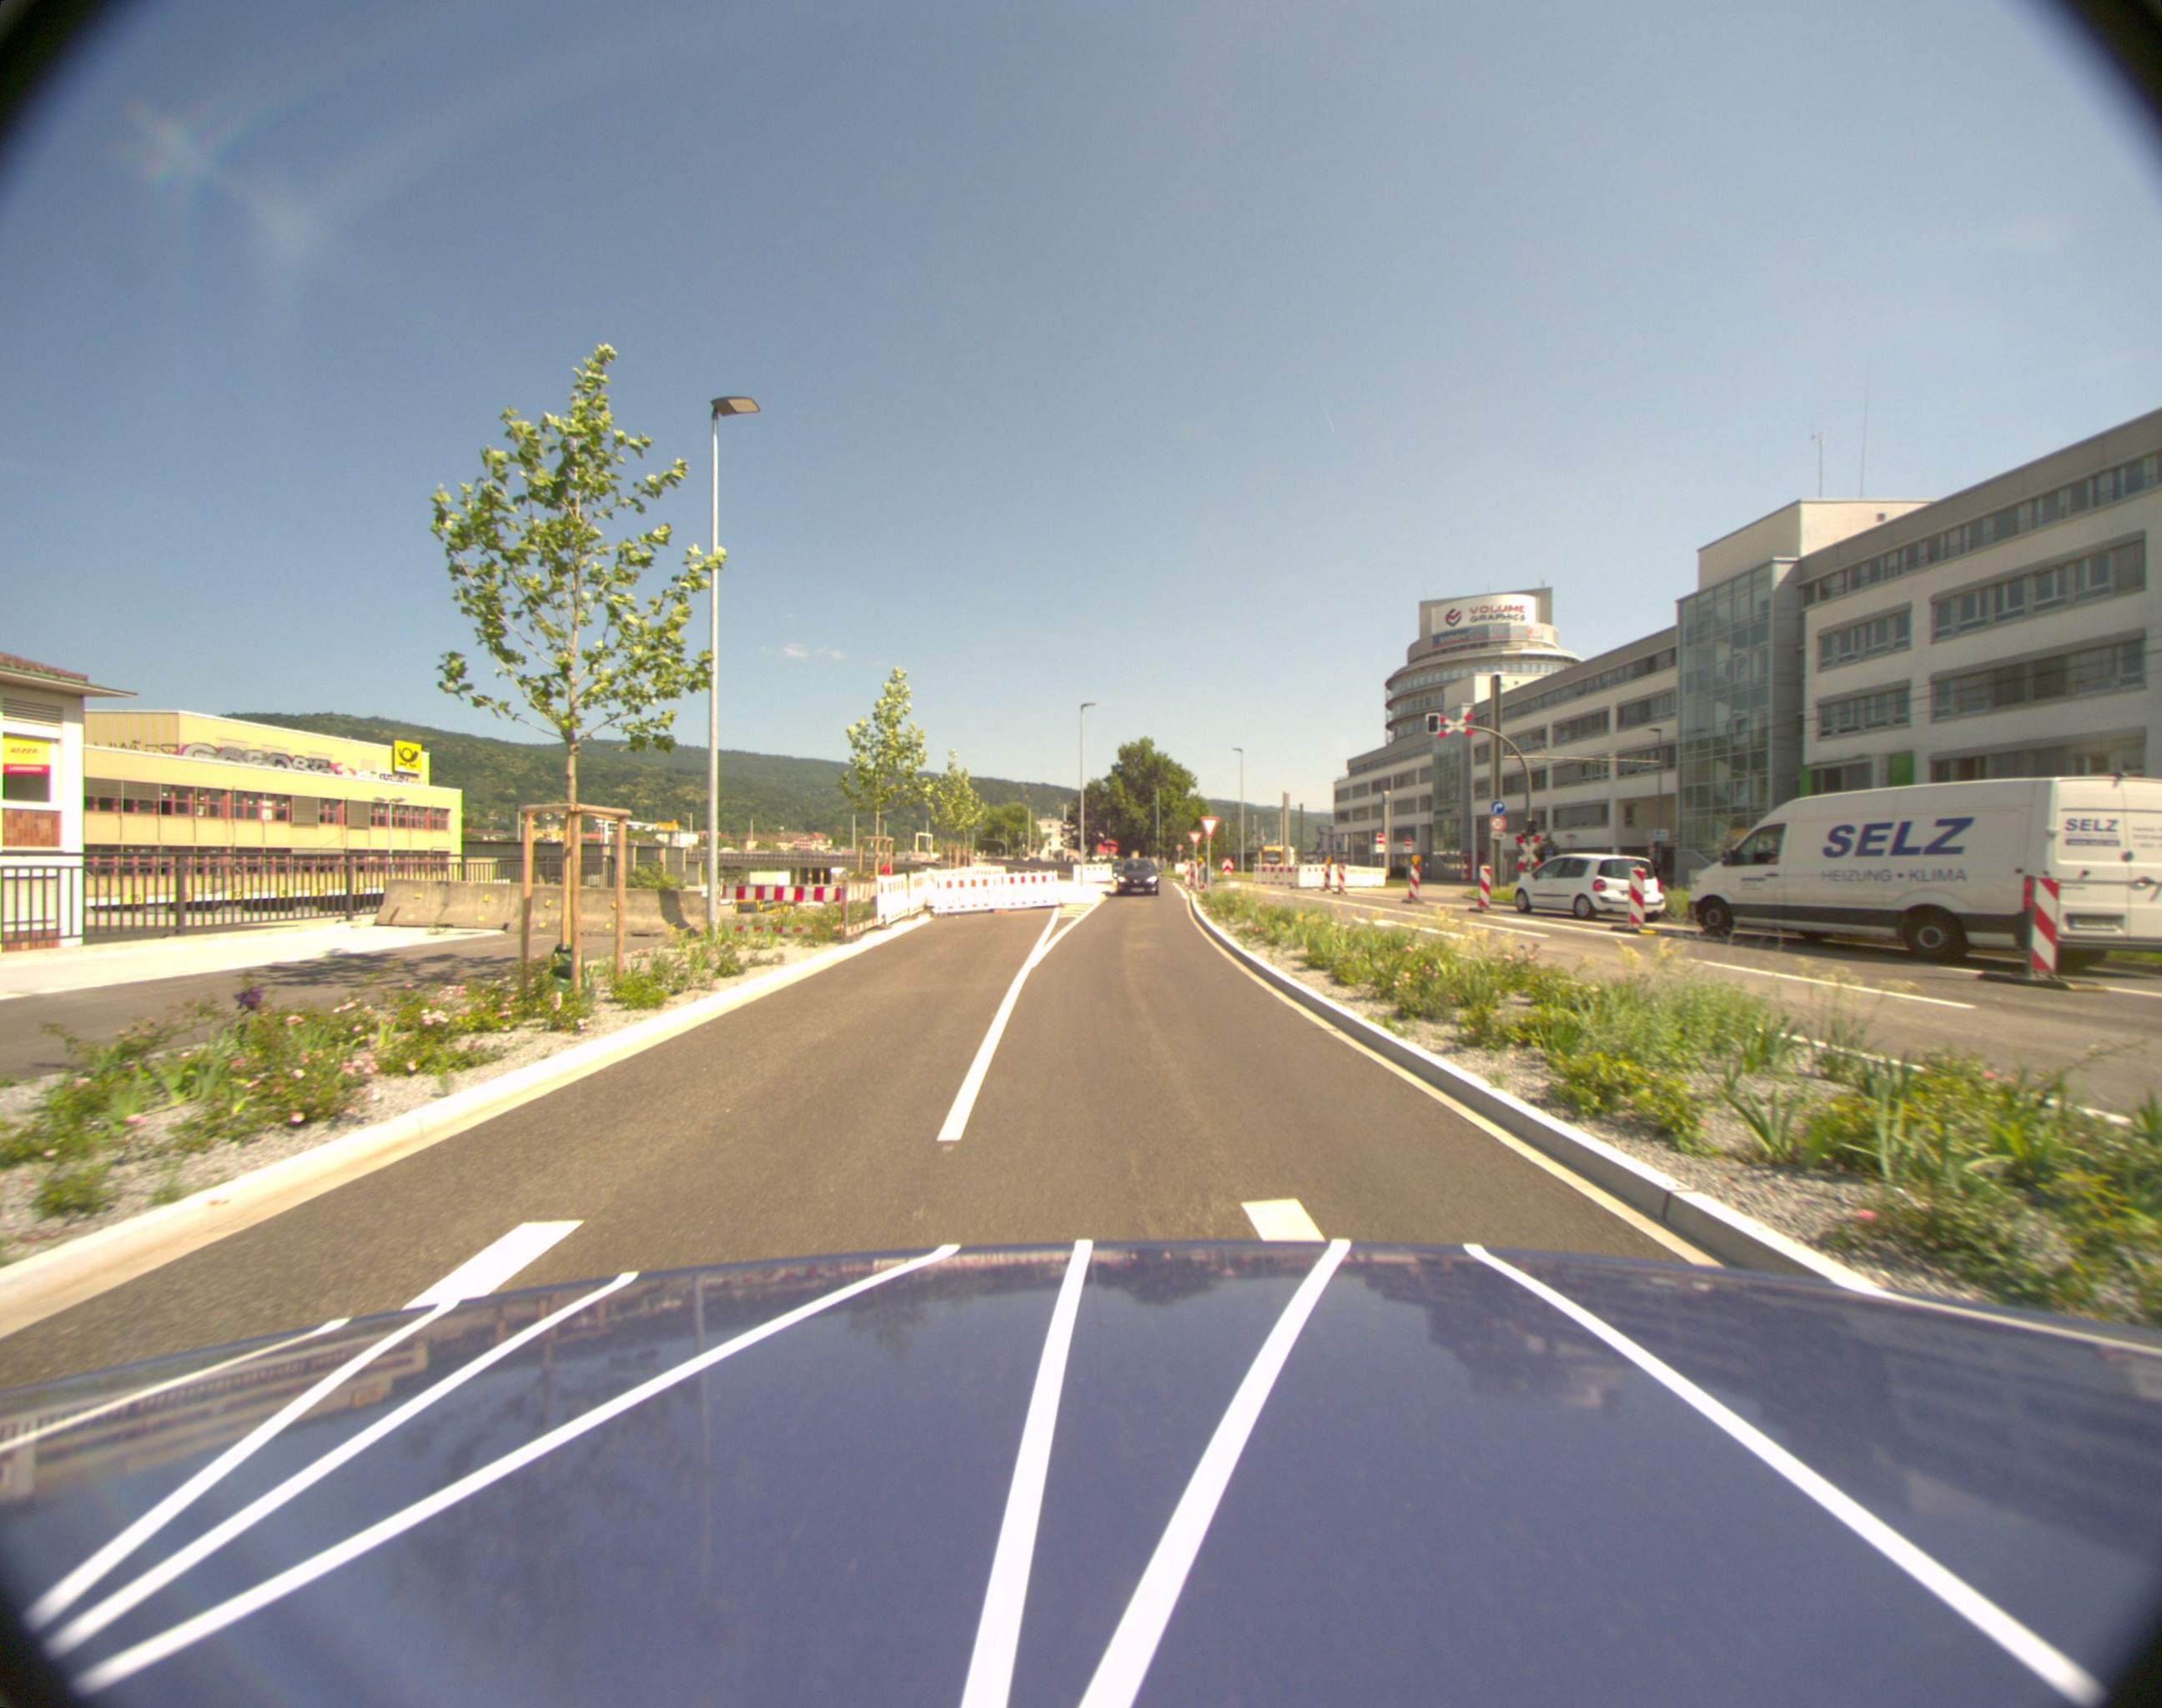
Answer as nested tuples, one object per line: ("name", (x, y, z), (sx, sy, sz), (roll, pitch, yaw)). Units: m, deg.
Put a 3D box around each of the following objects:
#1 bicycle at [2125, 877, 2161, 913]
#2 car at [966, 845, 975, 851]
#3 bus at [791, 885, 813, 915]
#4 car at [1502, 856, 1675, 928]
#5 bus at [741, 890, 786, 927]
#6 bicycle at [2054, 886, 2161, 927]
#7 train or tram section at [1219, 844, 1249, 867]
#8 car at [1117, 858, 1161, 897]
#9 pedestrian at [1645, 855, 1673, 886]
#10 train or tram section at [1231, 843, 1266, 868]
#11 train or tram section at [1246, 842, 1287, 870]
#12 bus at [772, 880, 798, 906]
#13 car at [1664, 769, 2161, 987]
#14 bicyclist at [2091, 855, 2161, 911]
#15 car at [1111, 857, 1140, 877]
("bicycle", (36.778, 1.390, 25.844), (1.650, 1.182, 0.522), (-2, 0, 5))
("car", (-23.634, -1.277, 162.413), (1.620, 1.433, 3.763), (0, 0, -14))
("bus", (-39.219, 6.362, 107.148), (2.553, 3.510, 12.520), (-1, 1, -19))
("car", (12.369, 0.844, 18.862), (1.584, 1.532, 3.978), (2, 0, 0))
("bus", (-38.128, 6.406, 91.649), (2.552, 3.510, 12.527), (-1, 1, -12))
("bicycle", (30.018, 1.490, 21.749), (0.756, 1.012, 2.831), (-1, 1, 1))
("train or tram section", (24.562, 0.245, 122.393), (2.631, 3.430, 11.782), (-2, 0, 2))
("car", (2.246, 0.884, 30.098), (1.618, 1.433, 3.707), (0, 0, 3))
("pedestrian", (35.033, 1.005, 46.075), (0.767, 1.815, 1.109), (-2, -1, -1))
("train or tram section", (24.261, 0.242, 110.609), (2.631, 3.430, 11.782), (-2, 0, 2))
("train or tram section", (23.946, 0.235, 98.846), (2.631, 3.430, 11.782), (-2, 0, 2))
("bus", (-47.566, 6.148, 122.354), (2.553, 3.510, 12.523), (-1, 1, -16))
("car", (12.772, 0.316, 12.212), (2.035, 2.563, 6.195), (2, 0, 1))
("bicyclist", (30.008, 0.817, 21.744), (0.756, 1.530, 1.077), (-1, 1, 1))
("car", (3.510, 1.015, 60.812), (1.619, 1.433, 3.765), (0, 0, -7))
